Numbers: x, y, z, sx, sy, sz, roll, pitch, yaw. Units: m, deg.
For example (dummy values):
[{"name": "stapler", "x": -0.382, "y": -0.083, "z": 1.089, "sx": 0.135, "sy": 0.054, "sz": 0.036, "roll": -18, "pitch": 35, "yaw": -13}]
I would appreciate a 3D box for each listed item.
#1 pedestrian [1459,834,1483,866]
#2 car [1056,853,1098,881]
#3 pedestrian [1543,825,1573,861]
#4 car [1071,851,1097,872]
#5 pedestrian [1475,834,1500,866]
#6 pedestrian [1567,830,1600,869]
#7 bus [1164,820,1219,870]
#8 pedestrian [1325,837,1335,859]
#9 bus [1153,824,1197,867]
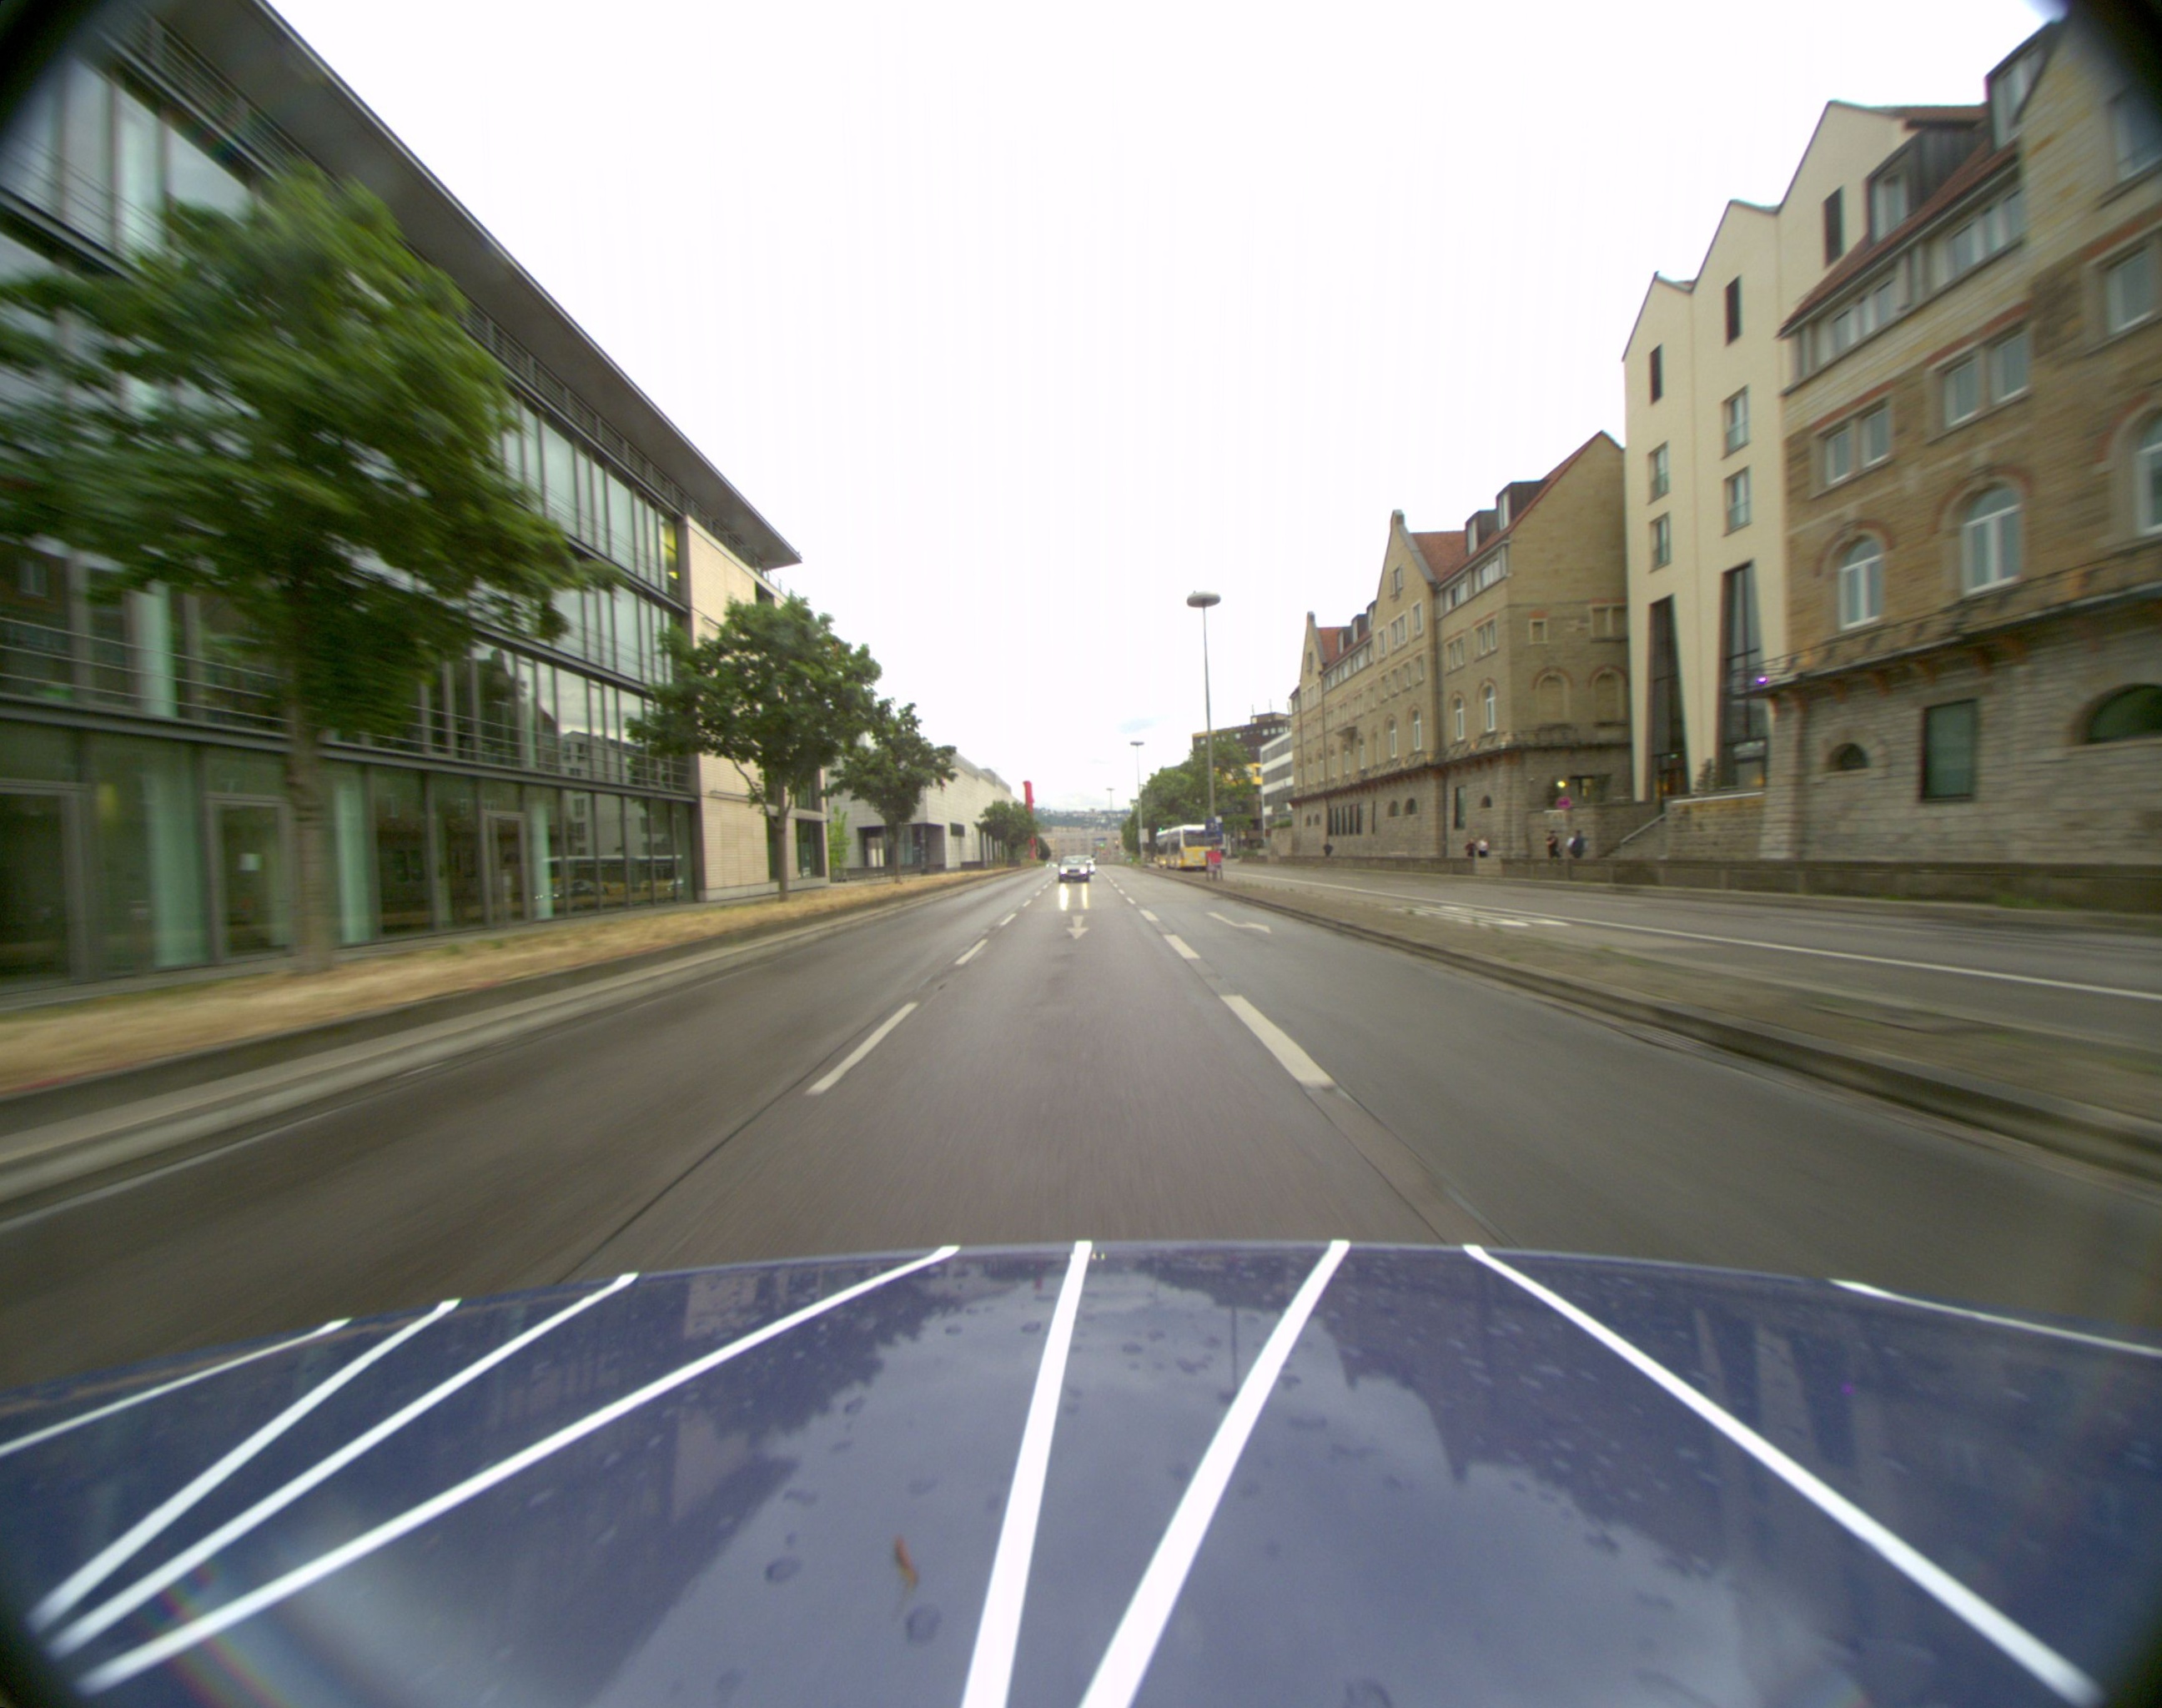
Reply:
[{"name": "pedestrian", "x": 18.441, "y": -0.196, "z": 35.956, "sx": 0.756, "sy": 1.469, "sz": 0.714, "roll": -1, "pitch": -1, "yaw": 0}, {"name": "car", "x": -0.178, "y": 0.698, "z": 43.169, "sx": 1.862, "sy": 1.428, "sz": 4.207, "roll": -3, "pitch": 0, "yaw": 6}, {"name": "pedestrian", "x": 20.224, "y": -0.463, "z": 32.228, "sx": 0.756, "sy": 1.469, "sz": 0.714, "roll": -1, "pitch": -1, "yaw": 0}, {"name": "car", "x": 0.193, "y": 0.551, "z": 58.208, "sx": 1.863, "sy": 1.449, "sz": 4.204, "roll": -2, "pitch": 0, "yaw": -1}, {"name": "pedestrian", "x": 19.238, "y": -0.188, "z": 35.934, "sx": 0.756, "sy": 1.469, "sz": 0.714, "roll": -1, "pitch": -1, "yaw": 0}, {"name": "pedestrian", "x": 19.237, "y": -0.169, "z": 29.113, "sx": 0.756, "sy": 1.469, "sz": 0.714, "roll": -1, "pitch": -1, "yaw": 0}, {"name": "bus", "x": 8.468, "y": -0.679, "z": 59.375, "sx": 2.705, "sy": 3.539, "sz": 10.091, "roll": -1, "pitch": 1, "yaw": 0}, {"name": "pedestrian", "x": 19.932, "y": -0.453, "z": 60.888, "sx": 0.641, "sy": 1.735, "sz": 0.622, "roll": -2, "pitch": -1, "yaw": 26}, {"name": "bus", "x": 8.456, "y": -0.756, "z": 69.659, "sx": 2.705, "sy": 3.539, "sz": 10.092, "roll": -1, "pitch": 1, "yaw": 0}]
